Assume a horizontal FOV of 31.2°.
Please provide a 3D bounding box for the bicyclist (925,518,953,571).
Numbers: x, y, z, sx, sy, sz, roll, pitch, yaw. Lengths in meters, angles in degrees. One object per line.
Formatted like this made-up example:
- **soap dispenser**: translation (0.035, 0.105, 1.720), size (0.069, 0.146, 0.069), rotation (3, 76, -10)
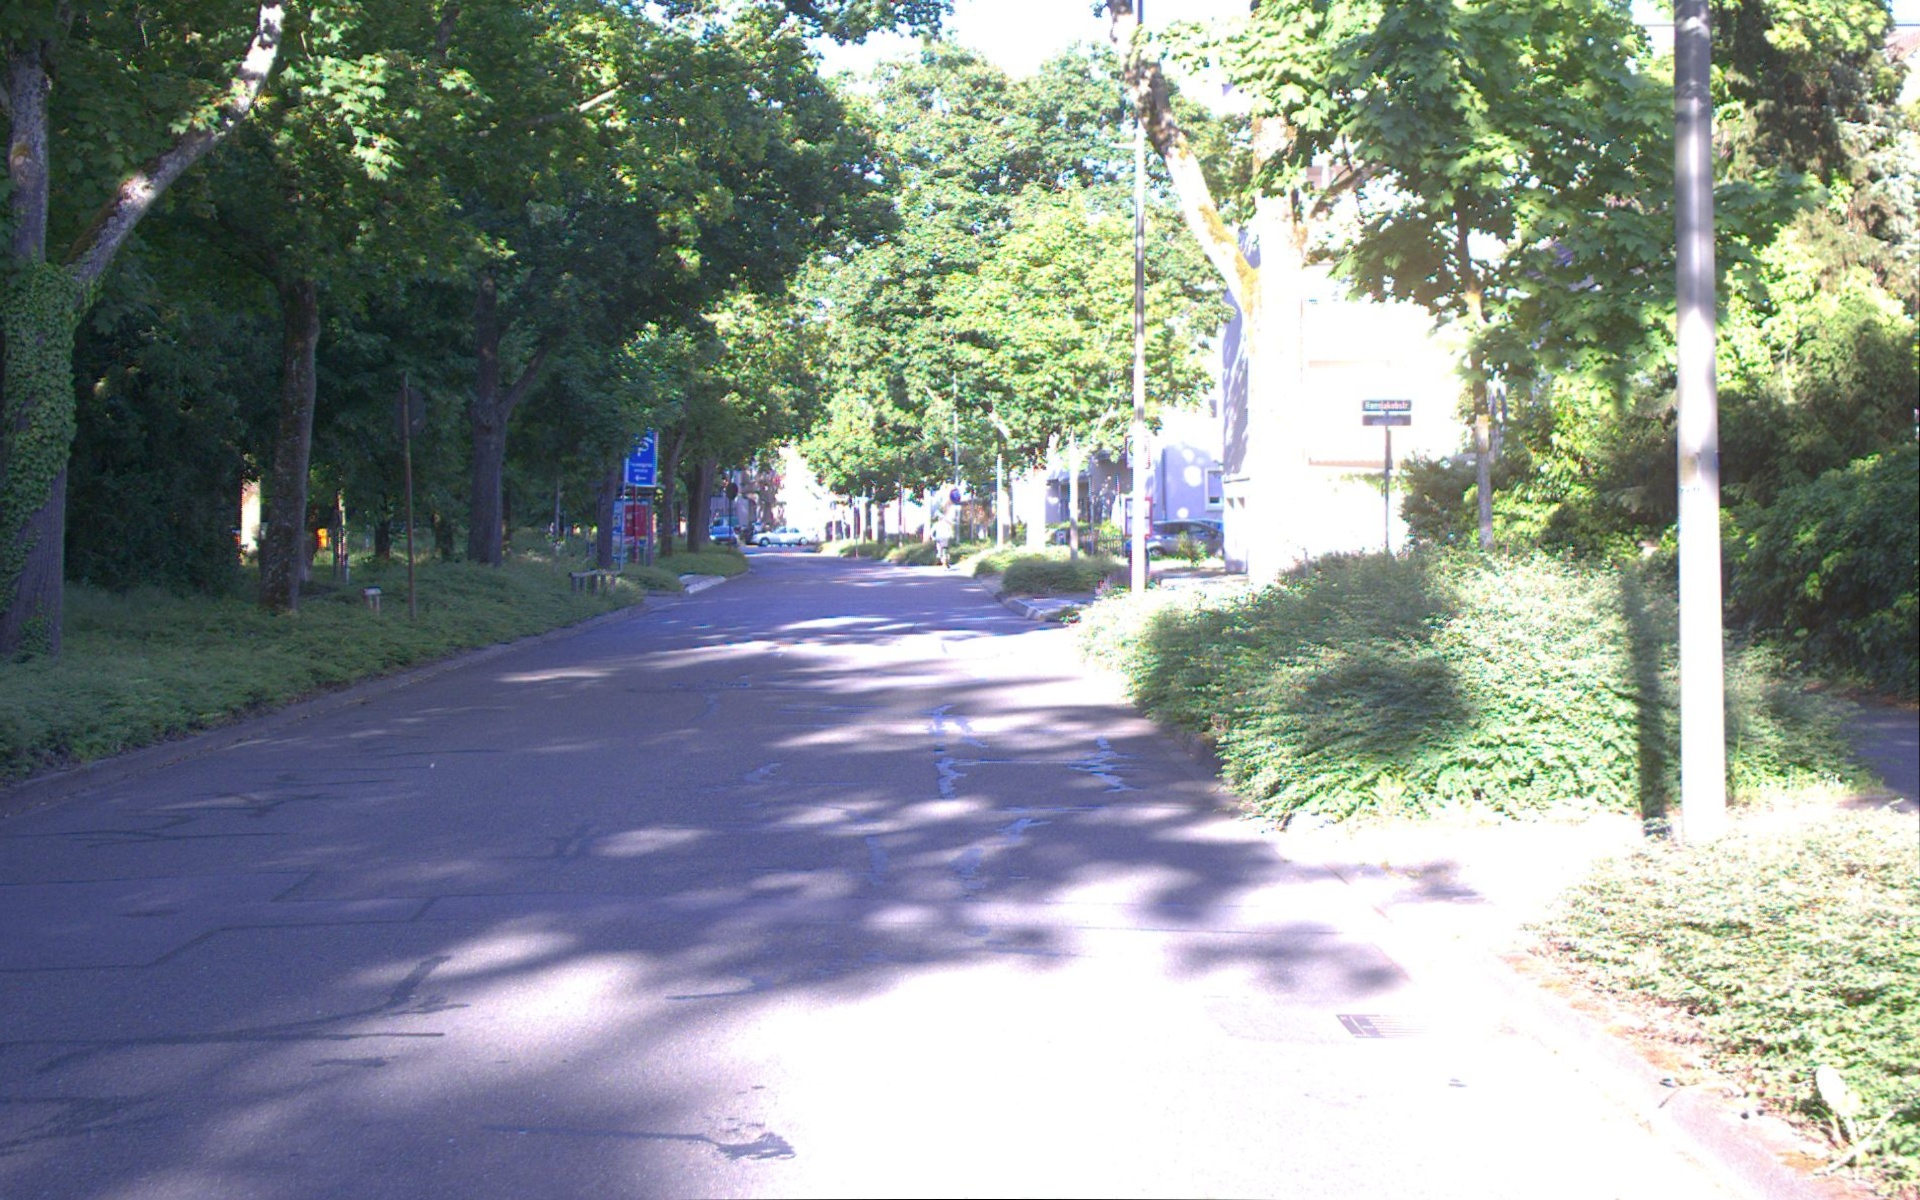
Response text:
- **bicyclist**: translation (-0.671, -1.794, 110.818), size (0.867, 1.635, 1.115), rotation (1, 2, -1)

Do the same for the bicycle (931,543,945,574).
- **bicycle**: translation (-0.706, -1.340, 110.834), size (0.439, 0.975, 1.662), rotation (0, 2, -1)

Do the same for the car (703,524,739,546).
- **car**: translation (-15.824, -4.302, 227.395), size (1.993, 1.349, 3.542), rotation (1, 1, -10)

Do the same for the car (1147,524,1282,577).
- **car**: translation (8.520, -1.658, 114.850), size (4.351, 1.349, 2.143), rotation (4, 5, 5)
